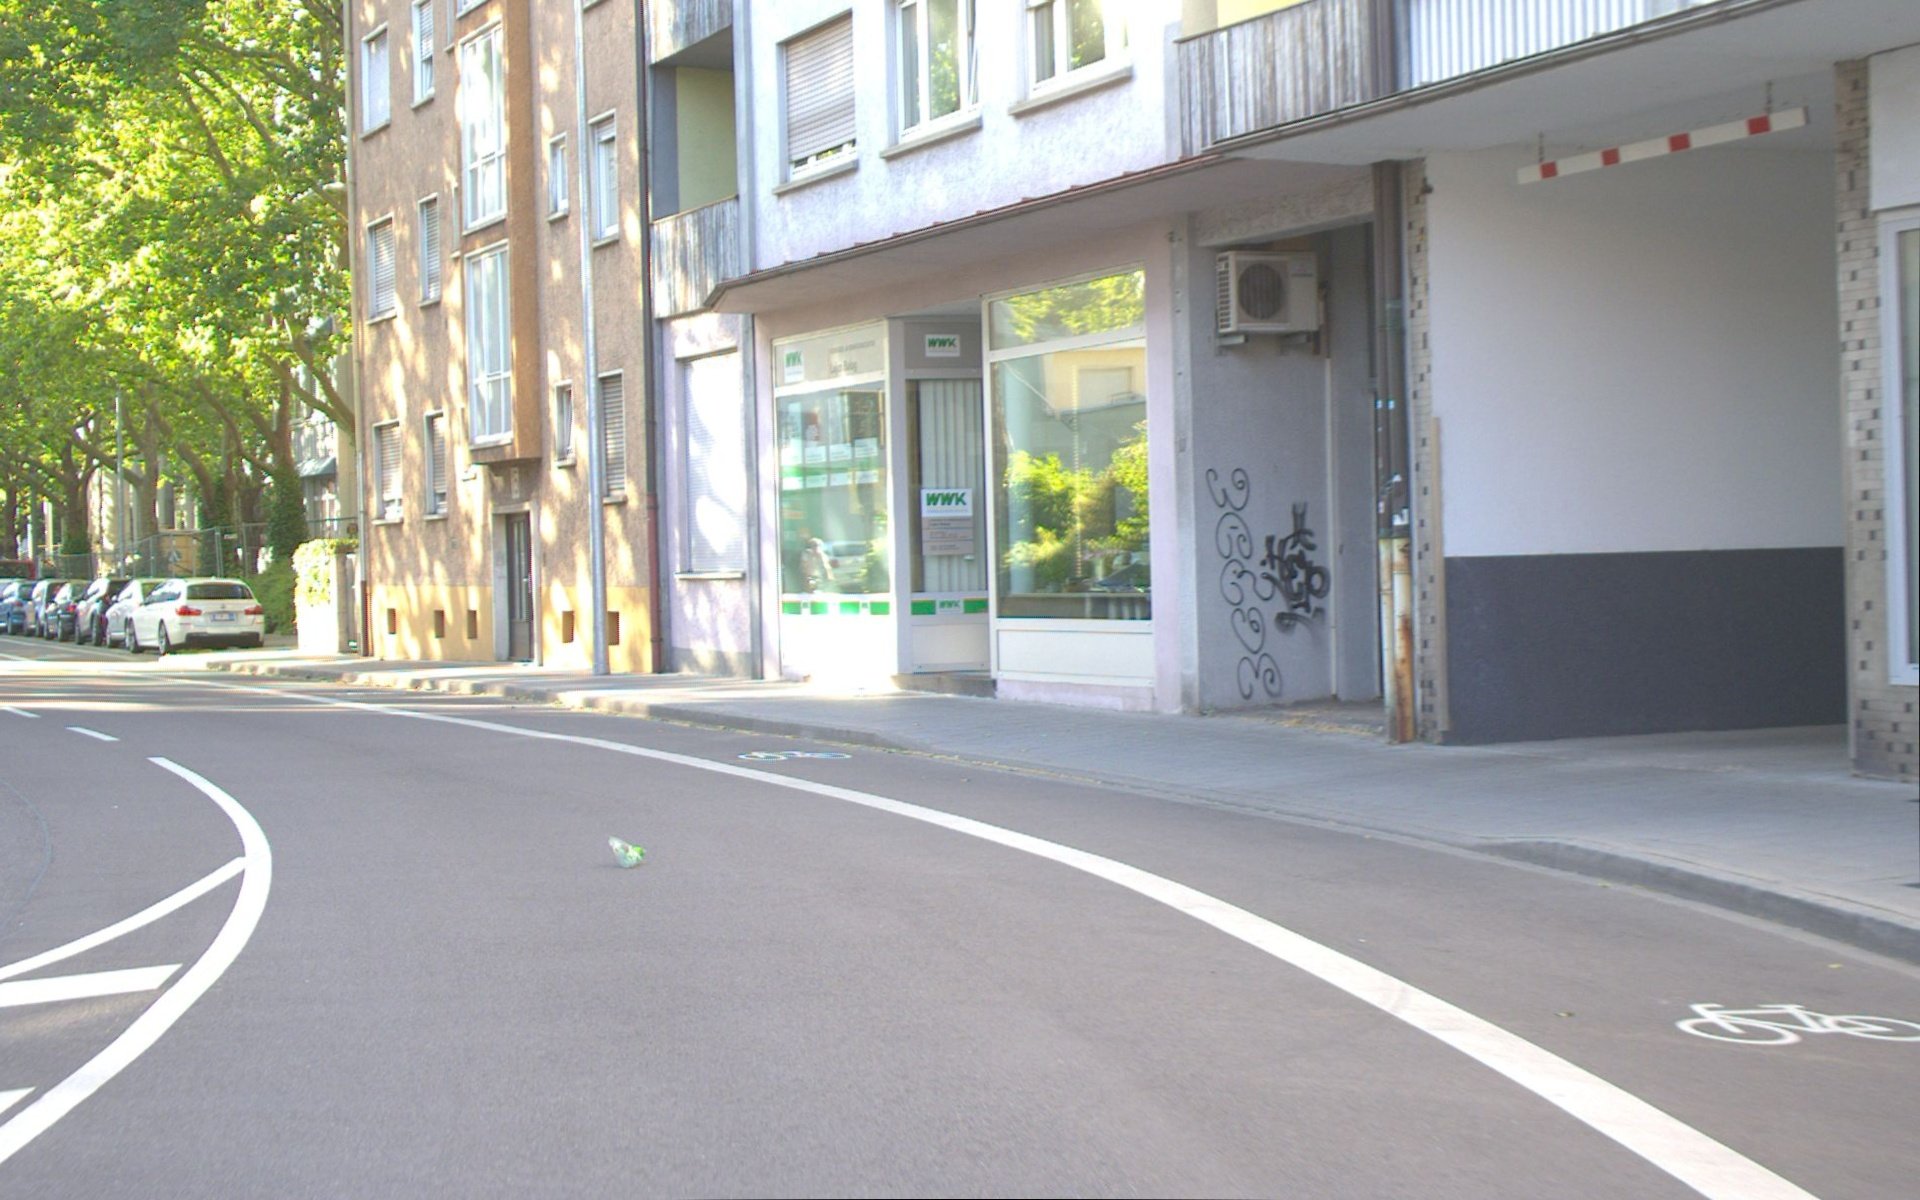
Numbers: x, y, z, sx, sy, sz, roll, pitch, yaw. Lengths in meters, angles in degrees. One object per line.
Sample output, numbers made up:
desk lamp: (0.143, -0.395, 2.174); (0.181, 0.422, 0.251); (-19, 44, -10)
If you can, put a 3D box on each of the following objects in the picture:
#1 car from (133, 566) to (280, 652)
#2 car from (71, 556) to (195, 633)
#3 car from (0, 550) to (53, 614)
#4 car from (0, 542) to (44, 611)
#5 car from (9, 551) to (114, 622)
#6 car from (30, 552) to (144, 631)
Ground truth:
car: (-14.325, 0.154, 65.238); (2.032, 1.499, 4.094); (-2, 1, -22)
car: (-18.299, -0.131, 75.967); (2.032, 1.611, 4.094); (-2, 1, -22)
car: (-26.463, -0.502, 95.251); (2.032, 1.713, 4.095); (-2, 1, -22)
car: (-27.809, -0.658, 99.347); (2.032, 1.927, 4.095); (-2, 1, -22)
car: (-22.793, -0.346, 87.141); (2.032, 1.713, 4.094); (-2, 1, -22)
car: (-20.685, -0.201, 81.372); (2.032, 1.753, 4.094); (-2, 1, -22)
